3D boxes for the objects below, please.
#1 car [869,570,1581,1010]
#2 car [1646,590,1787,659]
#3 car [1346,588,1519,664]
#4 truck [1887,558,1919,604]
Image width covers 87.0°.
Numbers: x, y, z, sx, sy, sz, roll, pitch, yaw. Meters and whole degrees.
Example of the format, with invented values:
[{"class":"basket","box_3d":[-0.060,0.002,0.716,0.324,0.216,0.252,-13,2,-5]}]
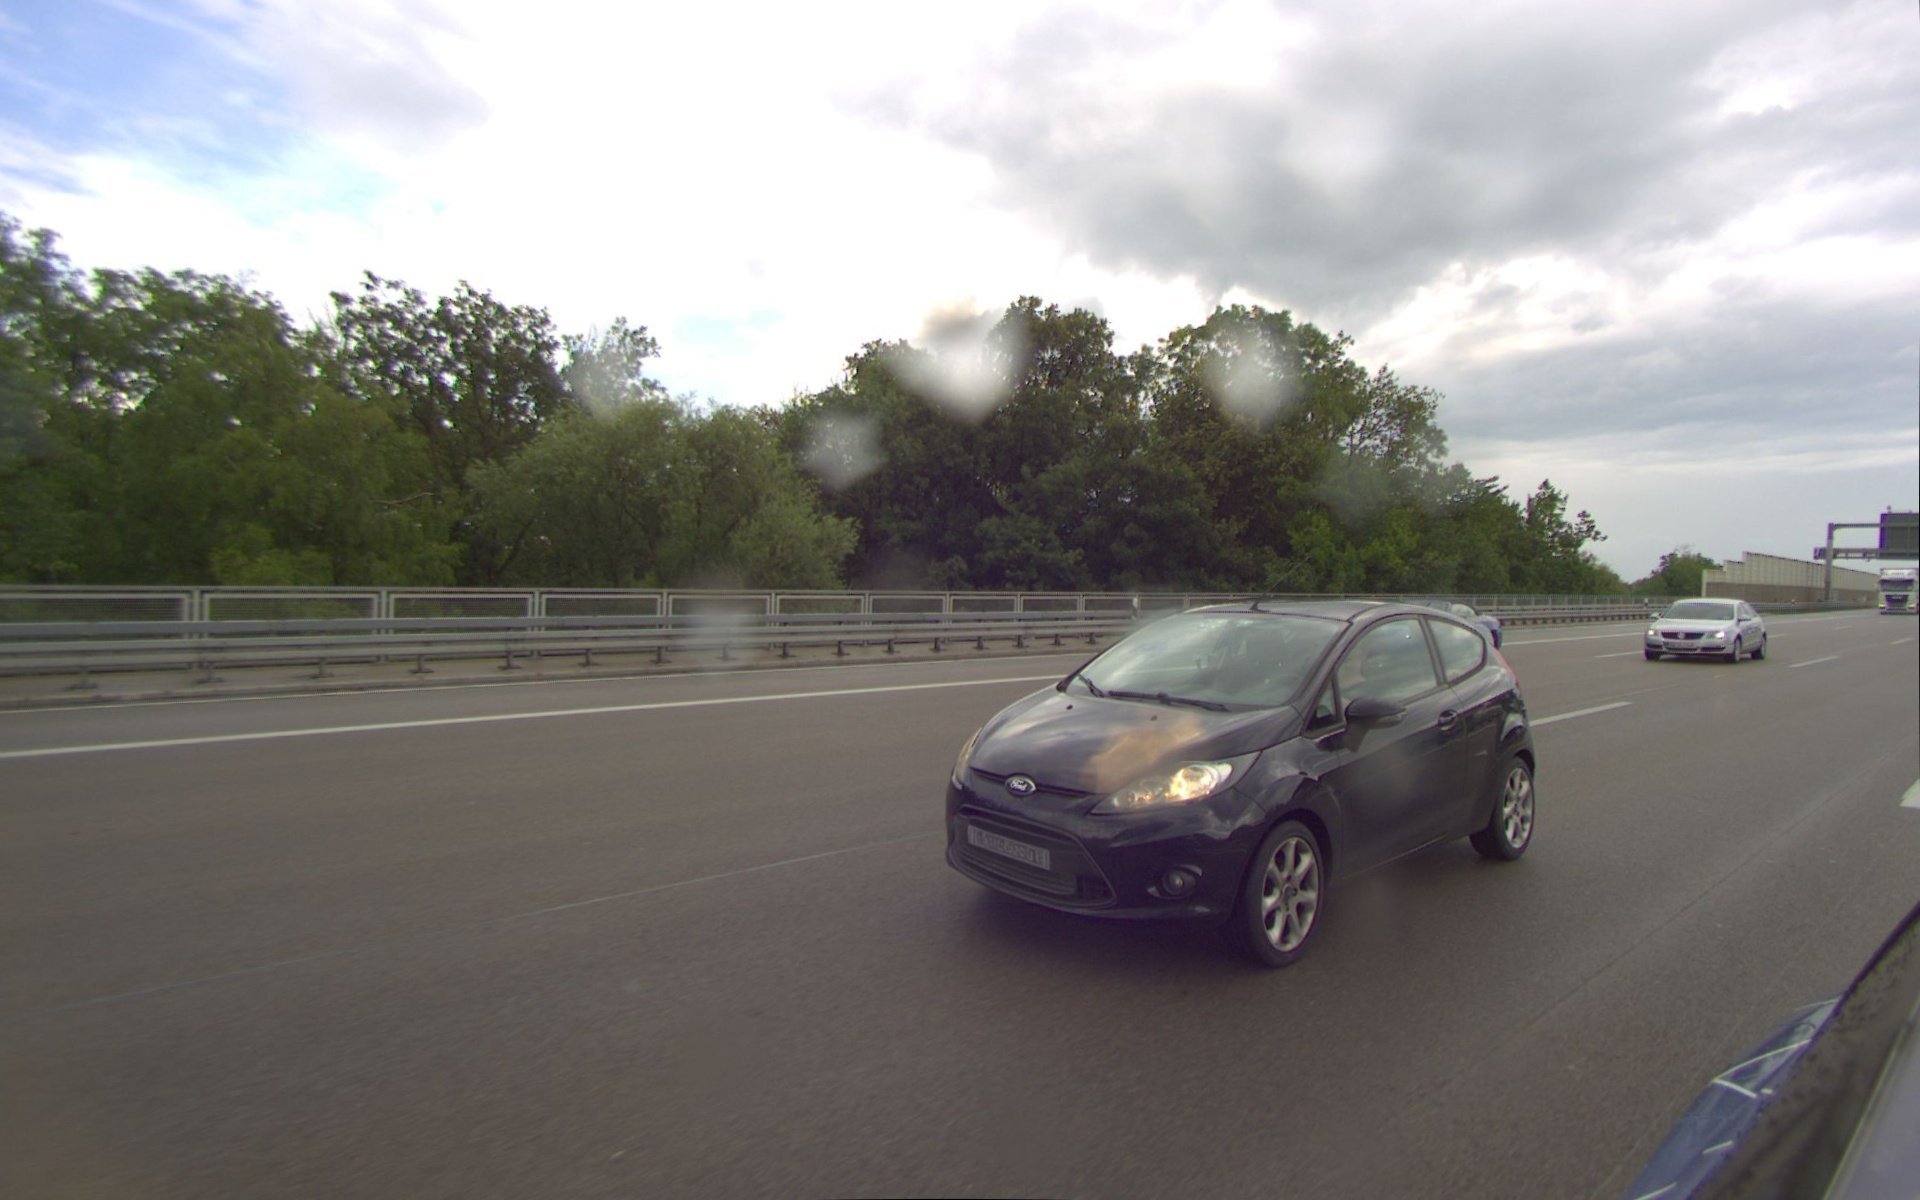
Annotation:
[{"class":"car","box_3d":[1.728,0.603,5.447,4.331,1.458,1.665,0,1,-43]},{"class":"car","box_3d":[18.005,0.515,24.024,4.173,1.465,1.896,0,1,-42]},{"class":"car","box_3d":[10.290,0.494,21.880,4.509,1.465,1.779,0,1,-42]},{"class":"truck","box_3d":[86.826,-1.668,91.798,12.111,3.956,3.249,-1,1,-44]}]
